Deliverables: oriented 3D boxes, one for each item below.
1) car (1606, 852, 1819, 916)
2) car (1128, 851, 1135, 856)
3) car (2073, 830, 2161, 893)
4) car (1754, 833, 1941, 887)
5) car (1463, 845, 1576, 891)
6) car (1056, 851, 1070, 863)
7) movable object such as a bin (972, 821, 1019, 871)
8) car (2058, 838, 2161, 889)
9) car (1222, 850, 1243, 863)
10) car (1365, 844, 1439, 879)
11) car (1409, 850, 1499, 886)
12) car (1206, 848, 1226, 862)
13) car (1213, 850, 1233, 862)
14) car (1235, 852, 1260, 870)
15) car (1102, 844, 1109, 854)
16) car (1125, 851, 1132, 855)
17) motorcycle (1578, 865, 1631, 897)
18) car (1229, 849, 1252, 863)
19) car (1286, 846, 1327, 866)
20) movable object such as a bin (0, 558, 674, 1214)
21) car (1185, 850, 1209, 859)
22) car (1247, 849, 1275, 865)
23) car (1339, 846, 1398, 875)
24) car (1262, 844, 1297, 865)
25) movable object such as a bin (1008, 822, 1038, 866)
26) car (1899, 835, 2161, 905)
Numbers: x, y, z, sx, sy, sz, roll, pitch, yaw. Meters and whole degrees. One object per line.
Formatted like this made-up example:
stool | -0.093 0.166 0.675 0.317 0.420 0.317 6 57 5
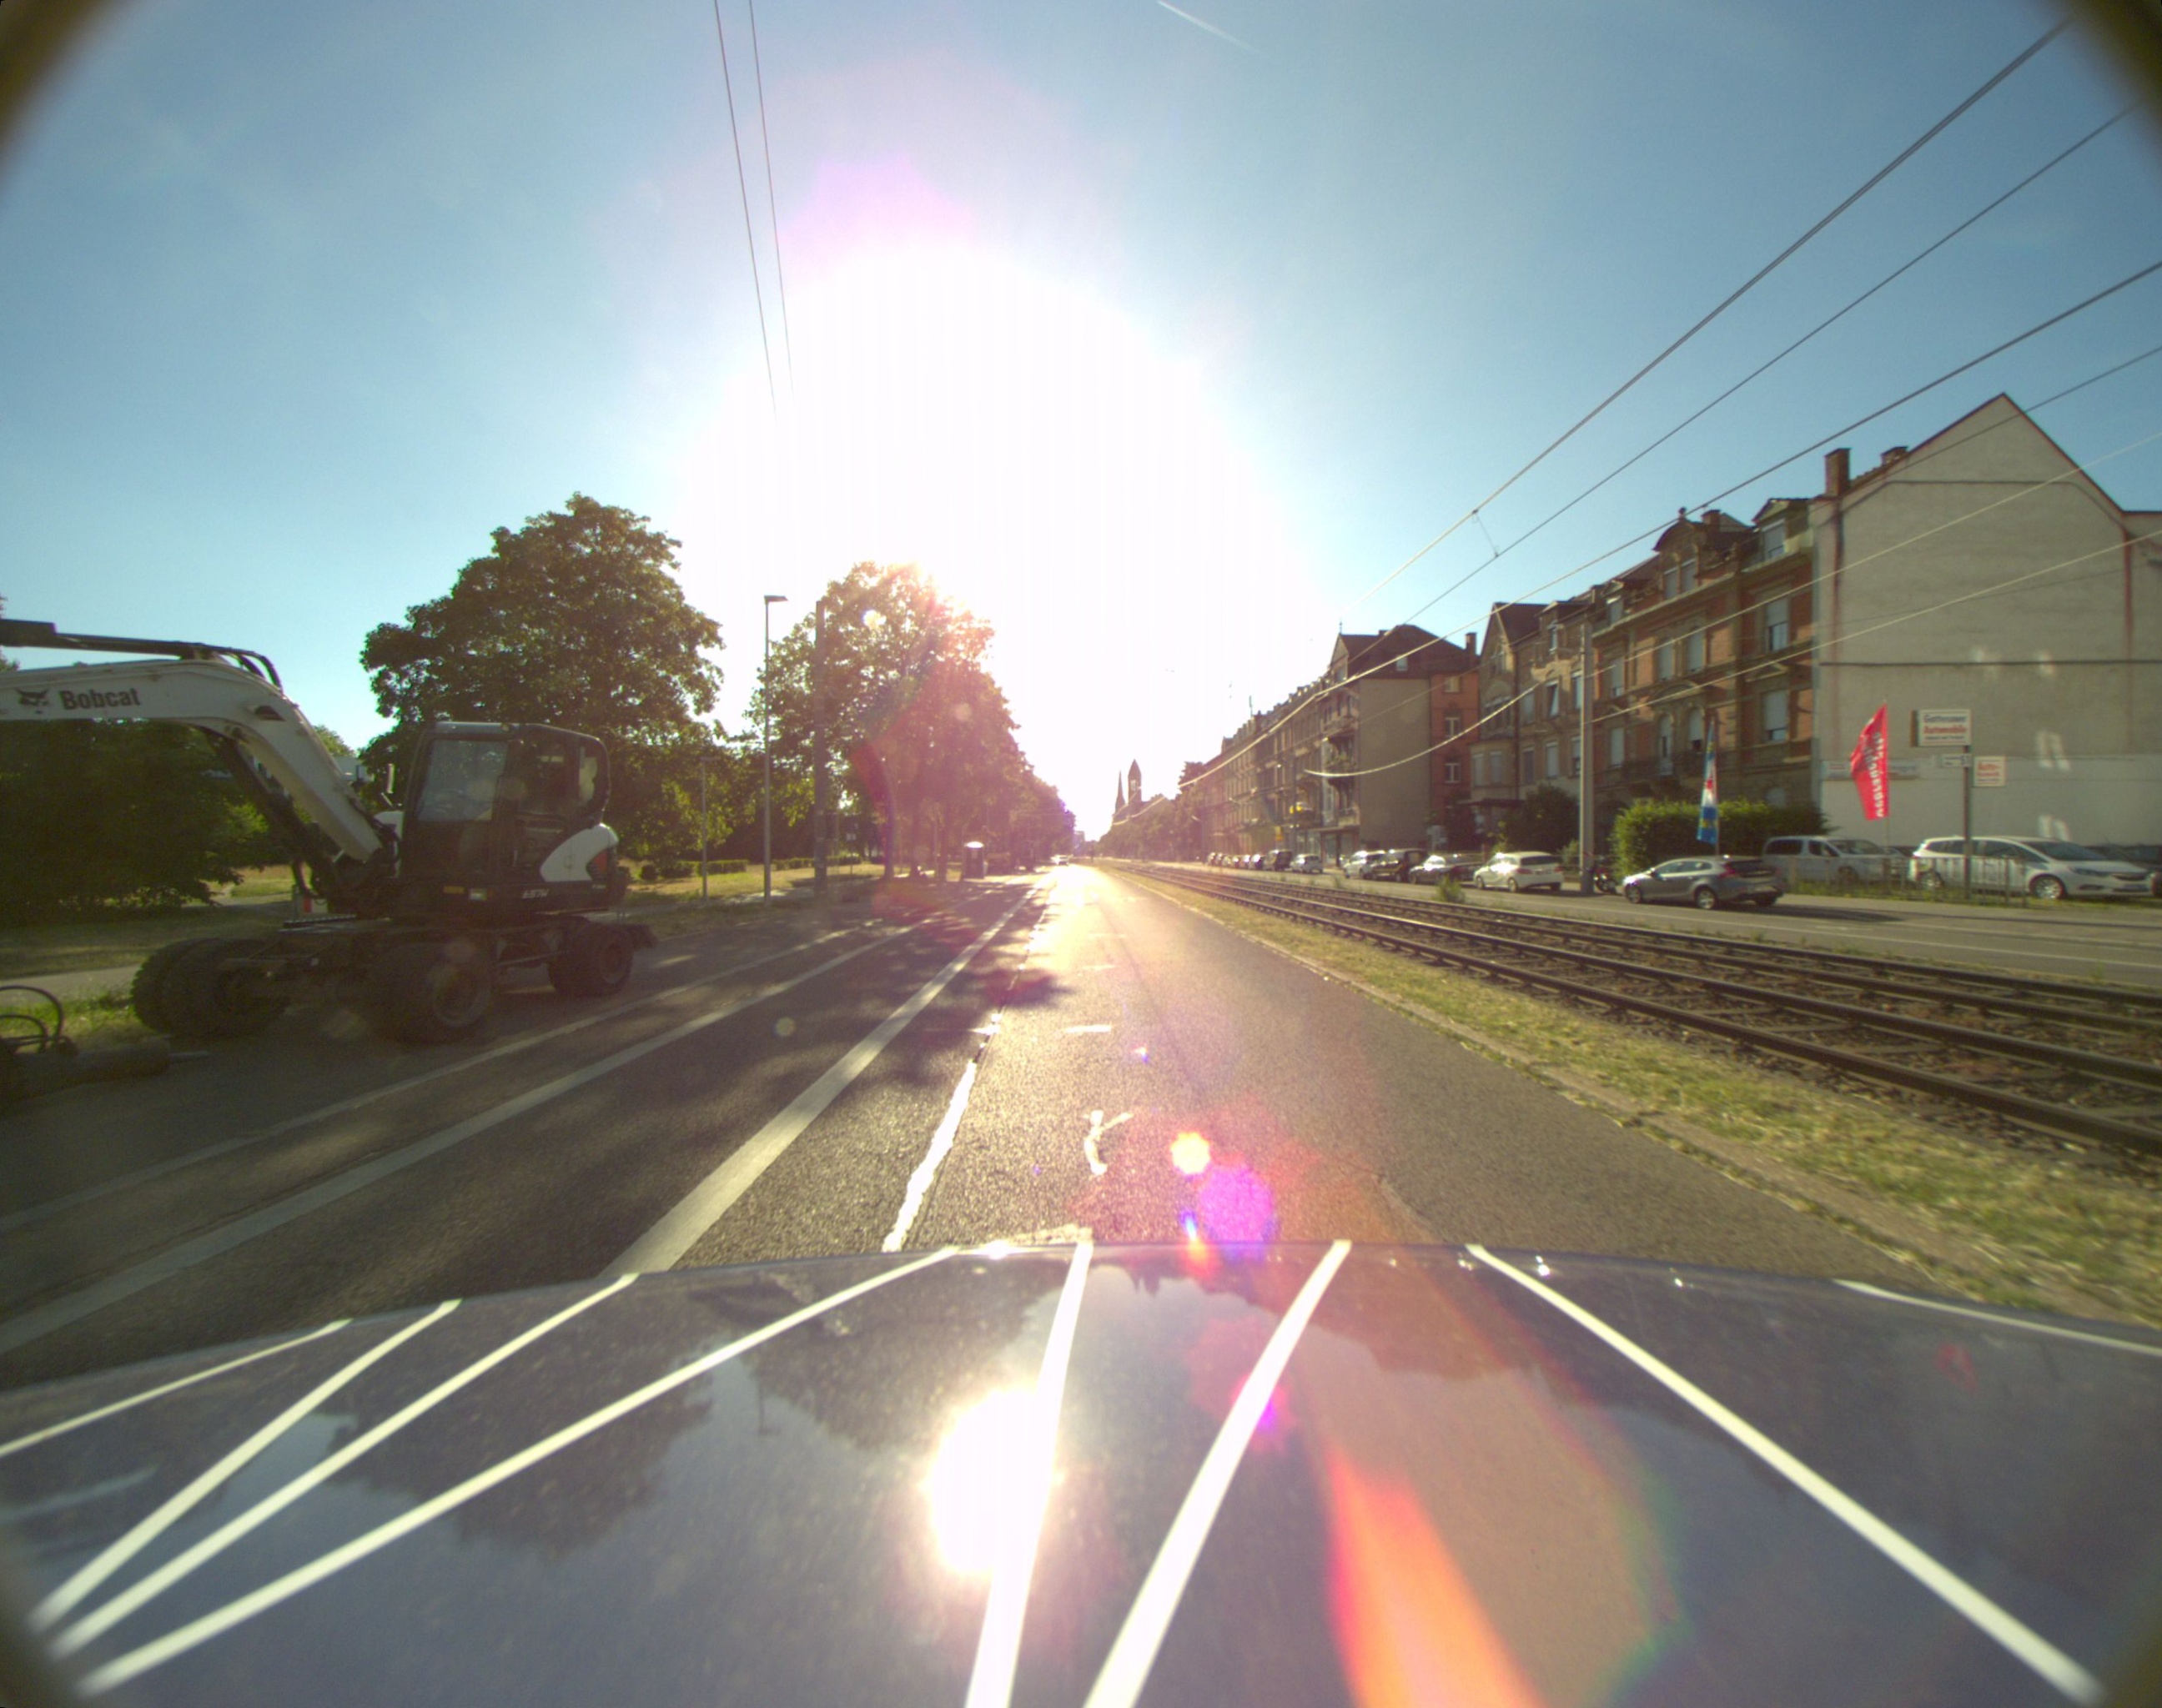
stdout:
car | 17.979 0.764 22.018 1.926 1.452 4.841 -6 0 -2
car | 15.304 -0.297 231.744 1.799 1.501 3.999 0 0 -2
car | 30.815 0.194 20.904 1.930 1.676 4.000 -2 1 3
car | 26.037 0.114 26.087 1.908 1.646 4.561 0 2 3
car | 17.907 0.522 31.340 1.925 1.685 4.842 -2 0 2
car | -2.419 0.431 103.688 1.799 1.501 3.999 -2 0 -1
movable object such as a bin | -7.237 -0.654 65.207 3.347 3.953 7.596 2 0 -2
car | 35.983 0.261 25.706 1.796 1.502 4.005 -2 1 21
car | 17.672 0.307 88.749 1.664 1.437 3.980 -2 1 0
car | 18.027 0.390 42.911 1.926 1.770 4.496 -2 0 -5
car | 18.015 0.631 36.986 1.926 1.552 4.841 -2 0 -1
car | 17.454 0.123 98.508 1.798 1.633 4.630 -2 1 2
car | 17.524 0.243 93.870 1.664 1.437 3.764 -2 1 0
car | 17.032 0.709 77.901 1.664 1.726 3.980 -2 1 0
car | 7.462 -1.549 231.130 1.799 2.766 3.999 0 1 -1
car | 15.290 -0.311 242.596 1.799 1.501 3.999 0 0 -2
motorcycle | 18.361 0.939 26.706 0.827 0.948 2.153 -2 1 14
car | 17.587 0.231 83.870 1.664 1.437 3.980 -2 1 0
car | 18.106 0.138 61.249 1.925 1.529 4.626 -2 1 0
movable object such as a bin | -6.487 0.106 5.747 2.751 3.127 7.219 3 0 1
car | 21.476 0.117 140.609 3.991 1.502 1.802 -2 2 21
car | 17.252 0.231 73.113 1.664 1.437 3.980 -2 1 0
car | 18.064 0.414 47.910 1.925 1.674 4.627 -1 0 0
car | 17.672 0.040 67.890 1.664 1.797 4.727 -2 1 -2
movable object such as a bin | -6.411 -1.048 85.131 2.922 4.584 7.596 2 0 -2
car | 25.527 0.332 20.582 1.908 1.646 4.561 0 2 3
